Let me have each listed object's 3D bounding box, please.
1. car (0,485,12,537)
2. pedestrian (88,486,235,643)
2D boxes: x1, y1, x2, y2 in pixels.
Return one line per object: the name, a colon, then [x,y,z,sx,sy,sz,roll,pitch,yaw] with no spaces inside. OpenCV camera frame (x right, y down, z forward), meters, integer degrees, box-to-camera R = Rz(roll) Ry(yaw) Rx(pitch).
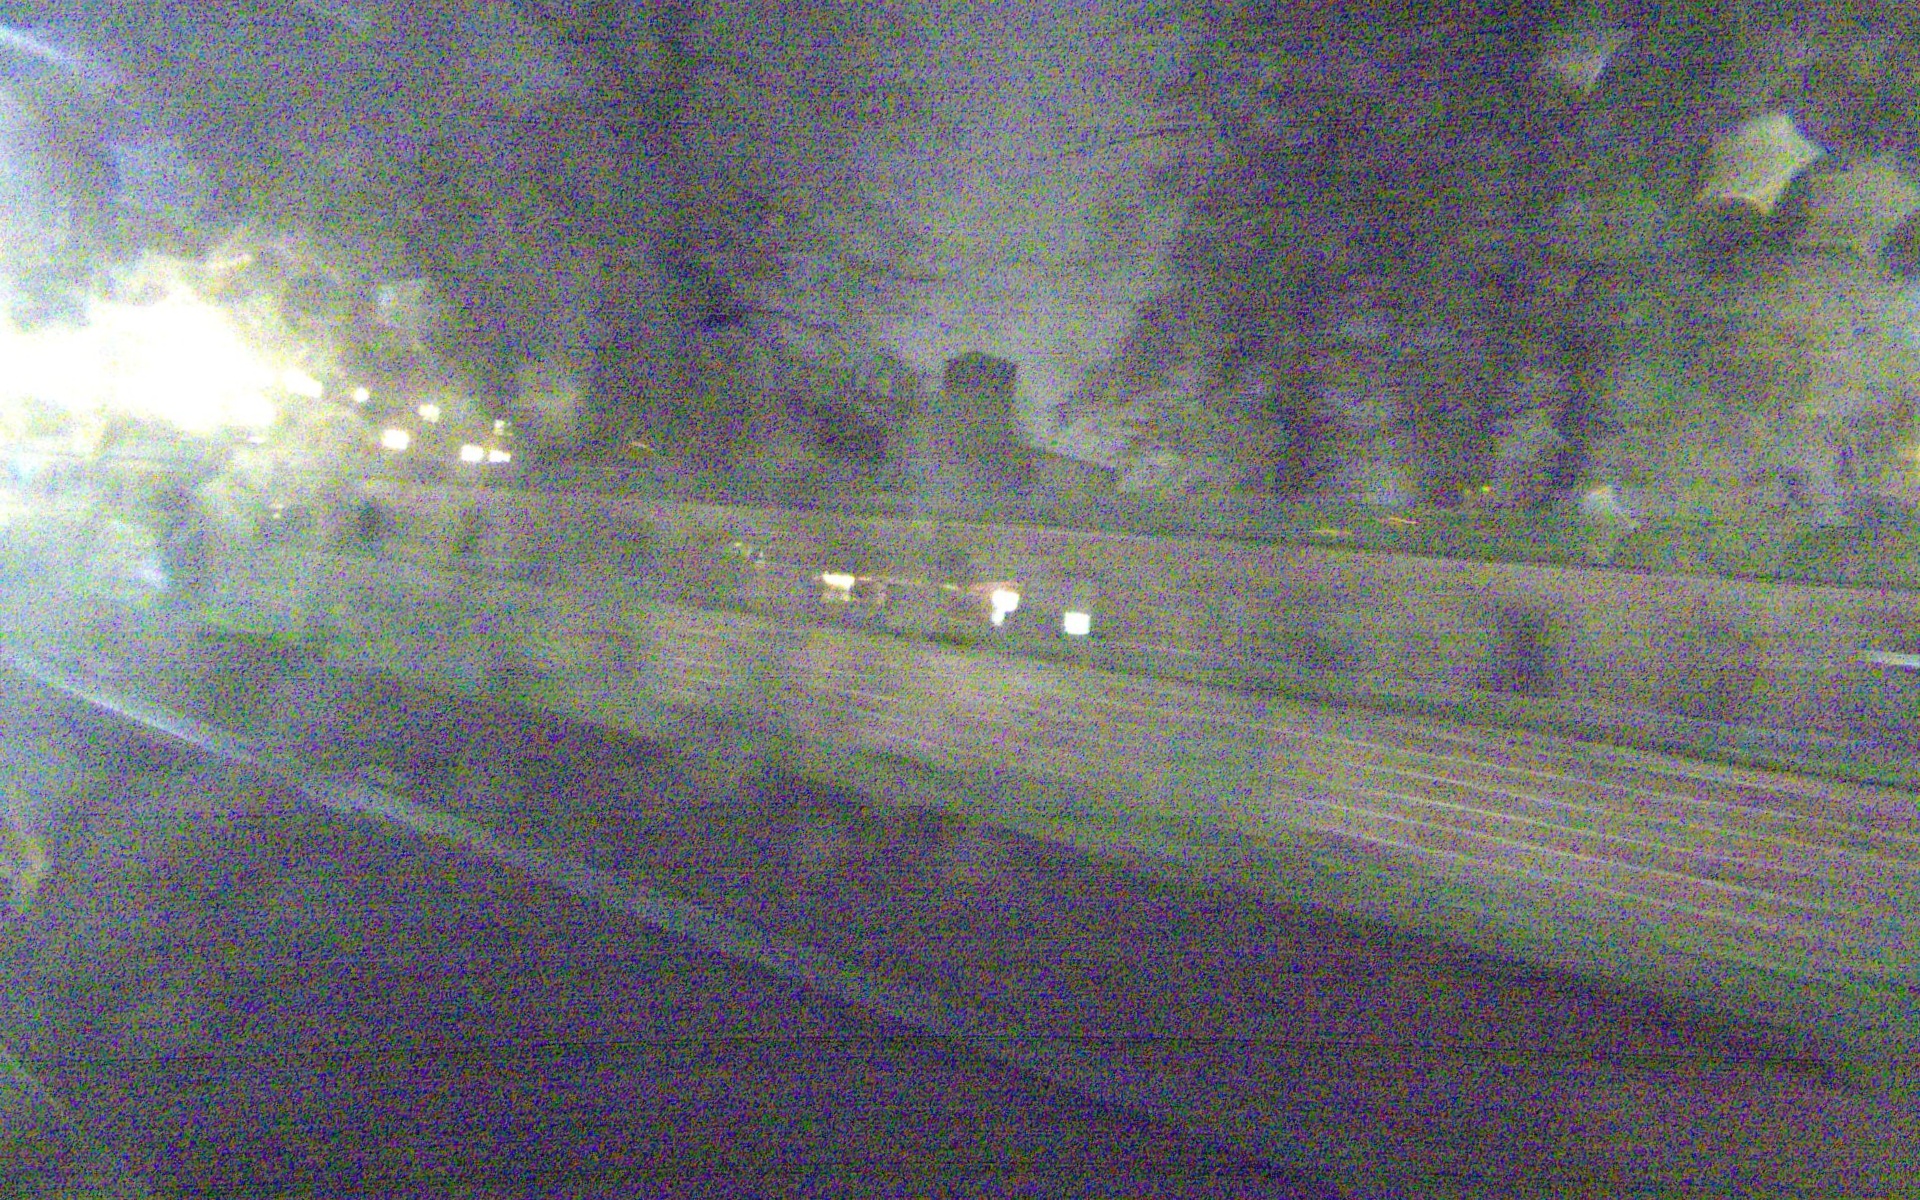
car: [-32.685,-3.106,32.145,2.004,1.720,4.101,8,-1,-23]
pedestrian: [-9.276,-0.397,11.696,0.977,1.685,0.940,7,2,27]
